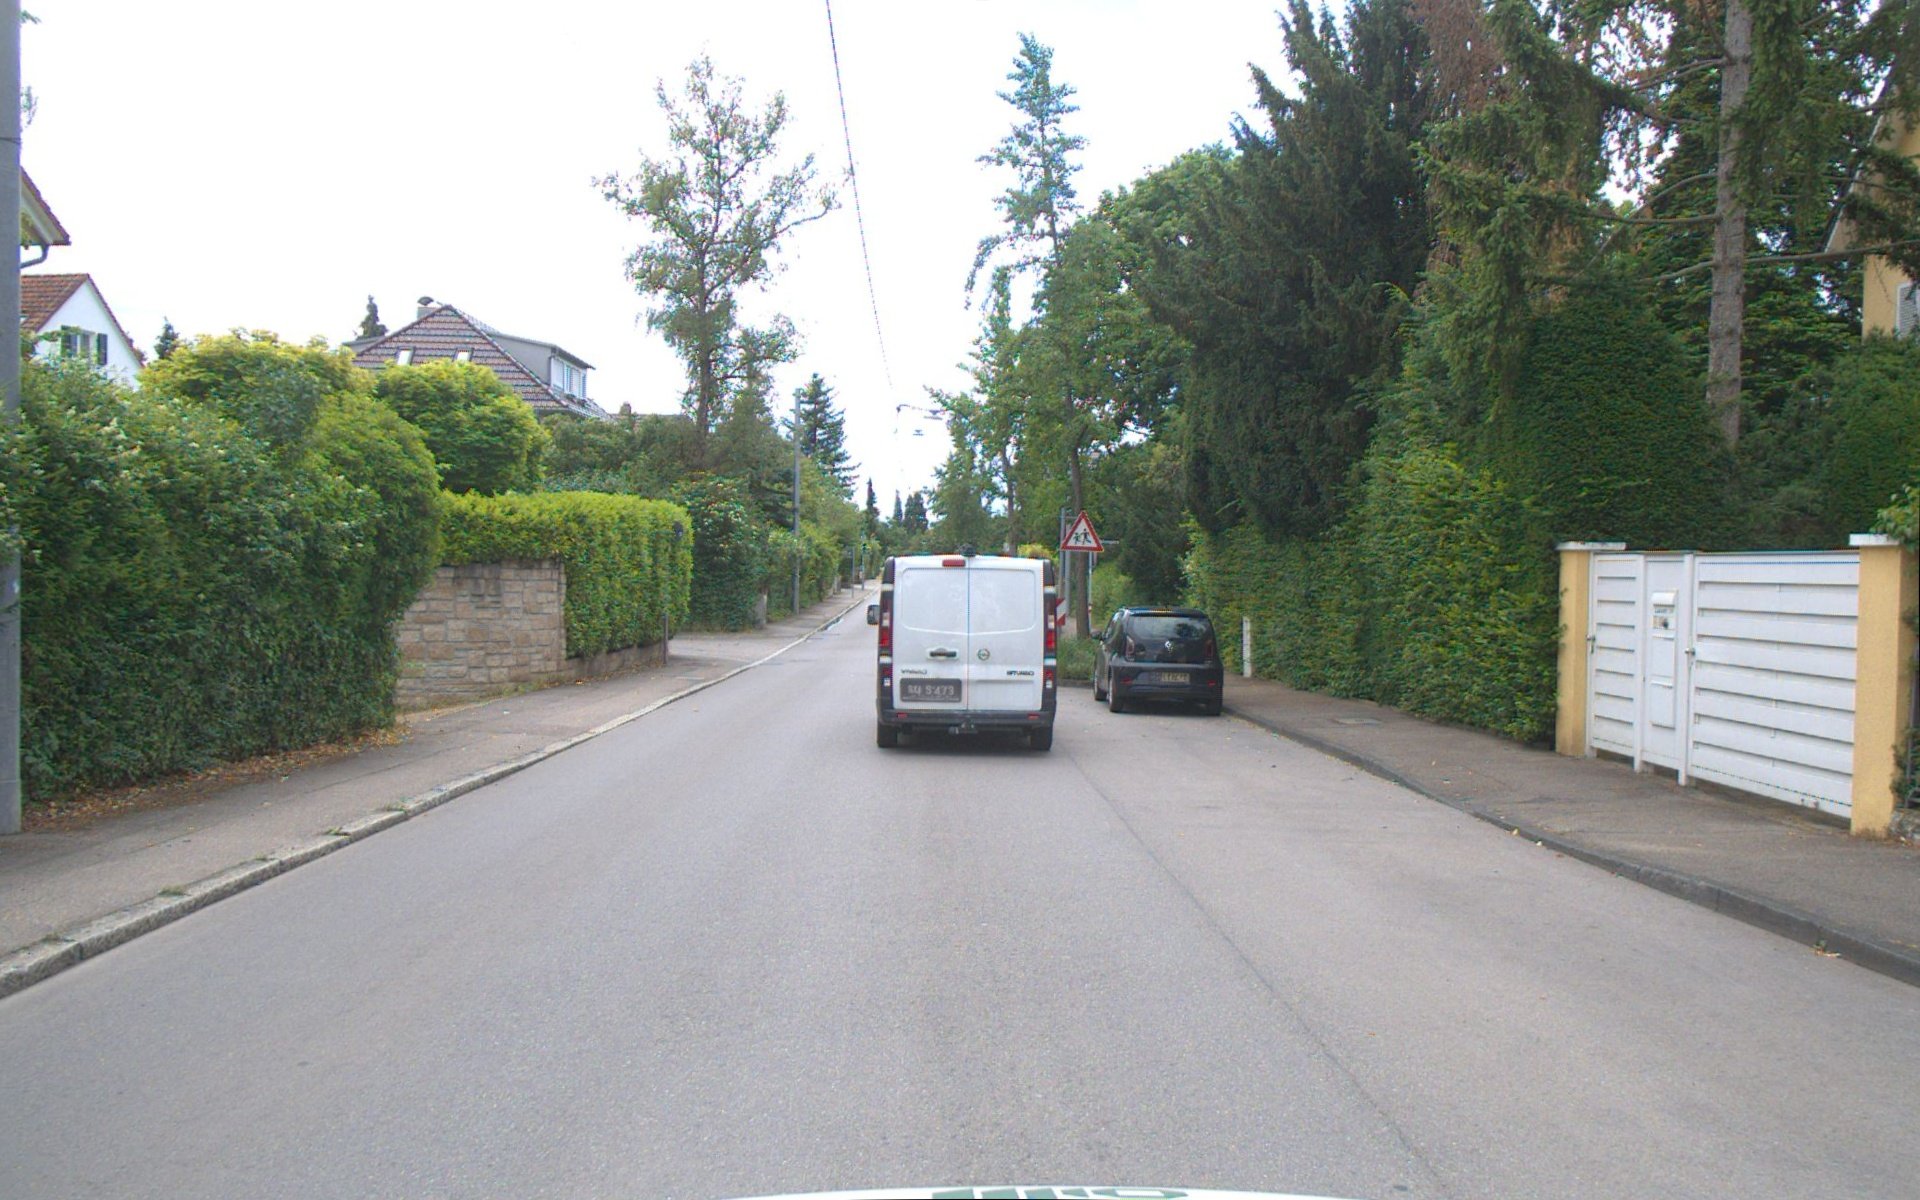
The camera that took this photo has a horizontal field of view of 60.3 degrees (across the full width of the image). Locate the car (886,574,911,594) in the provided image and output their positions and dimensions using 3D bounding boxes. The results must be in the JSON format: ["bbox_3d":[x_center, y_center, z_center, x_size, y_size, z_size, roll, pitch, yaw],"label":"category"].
[{"bbox_3d":[-4.822,-1.291,130.034,1.768,1.456,4.301,-2,1,0],"label":"car"}]

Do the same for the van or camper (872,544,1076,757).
[{"bbox_3d":[0.062,0.485,18.293,1.900,1.988,4.763,2,0,-2],"label":"van or camper"}]

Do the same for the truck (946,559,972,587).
[{"bbox_3d":[-0.100,-2.537,154.879,2.143,2.514,7.429,2,1,-1],"label":"truck"}]

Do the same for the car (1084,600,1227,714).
[{"bbox_3d":[2.826,0.788,24.613,1.590,1.498,3.739,1,0,-1],"label":"car"}]
